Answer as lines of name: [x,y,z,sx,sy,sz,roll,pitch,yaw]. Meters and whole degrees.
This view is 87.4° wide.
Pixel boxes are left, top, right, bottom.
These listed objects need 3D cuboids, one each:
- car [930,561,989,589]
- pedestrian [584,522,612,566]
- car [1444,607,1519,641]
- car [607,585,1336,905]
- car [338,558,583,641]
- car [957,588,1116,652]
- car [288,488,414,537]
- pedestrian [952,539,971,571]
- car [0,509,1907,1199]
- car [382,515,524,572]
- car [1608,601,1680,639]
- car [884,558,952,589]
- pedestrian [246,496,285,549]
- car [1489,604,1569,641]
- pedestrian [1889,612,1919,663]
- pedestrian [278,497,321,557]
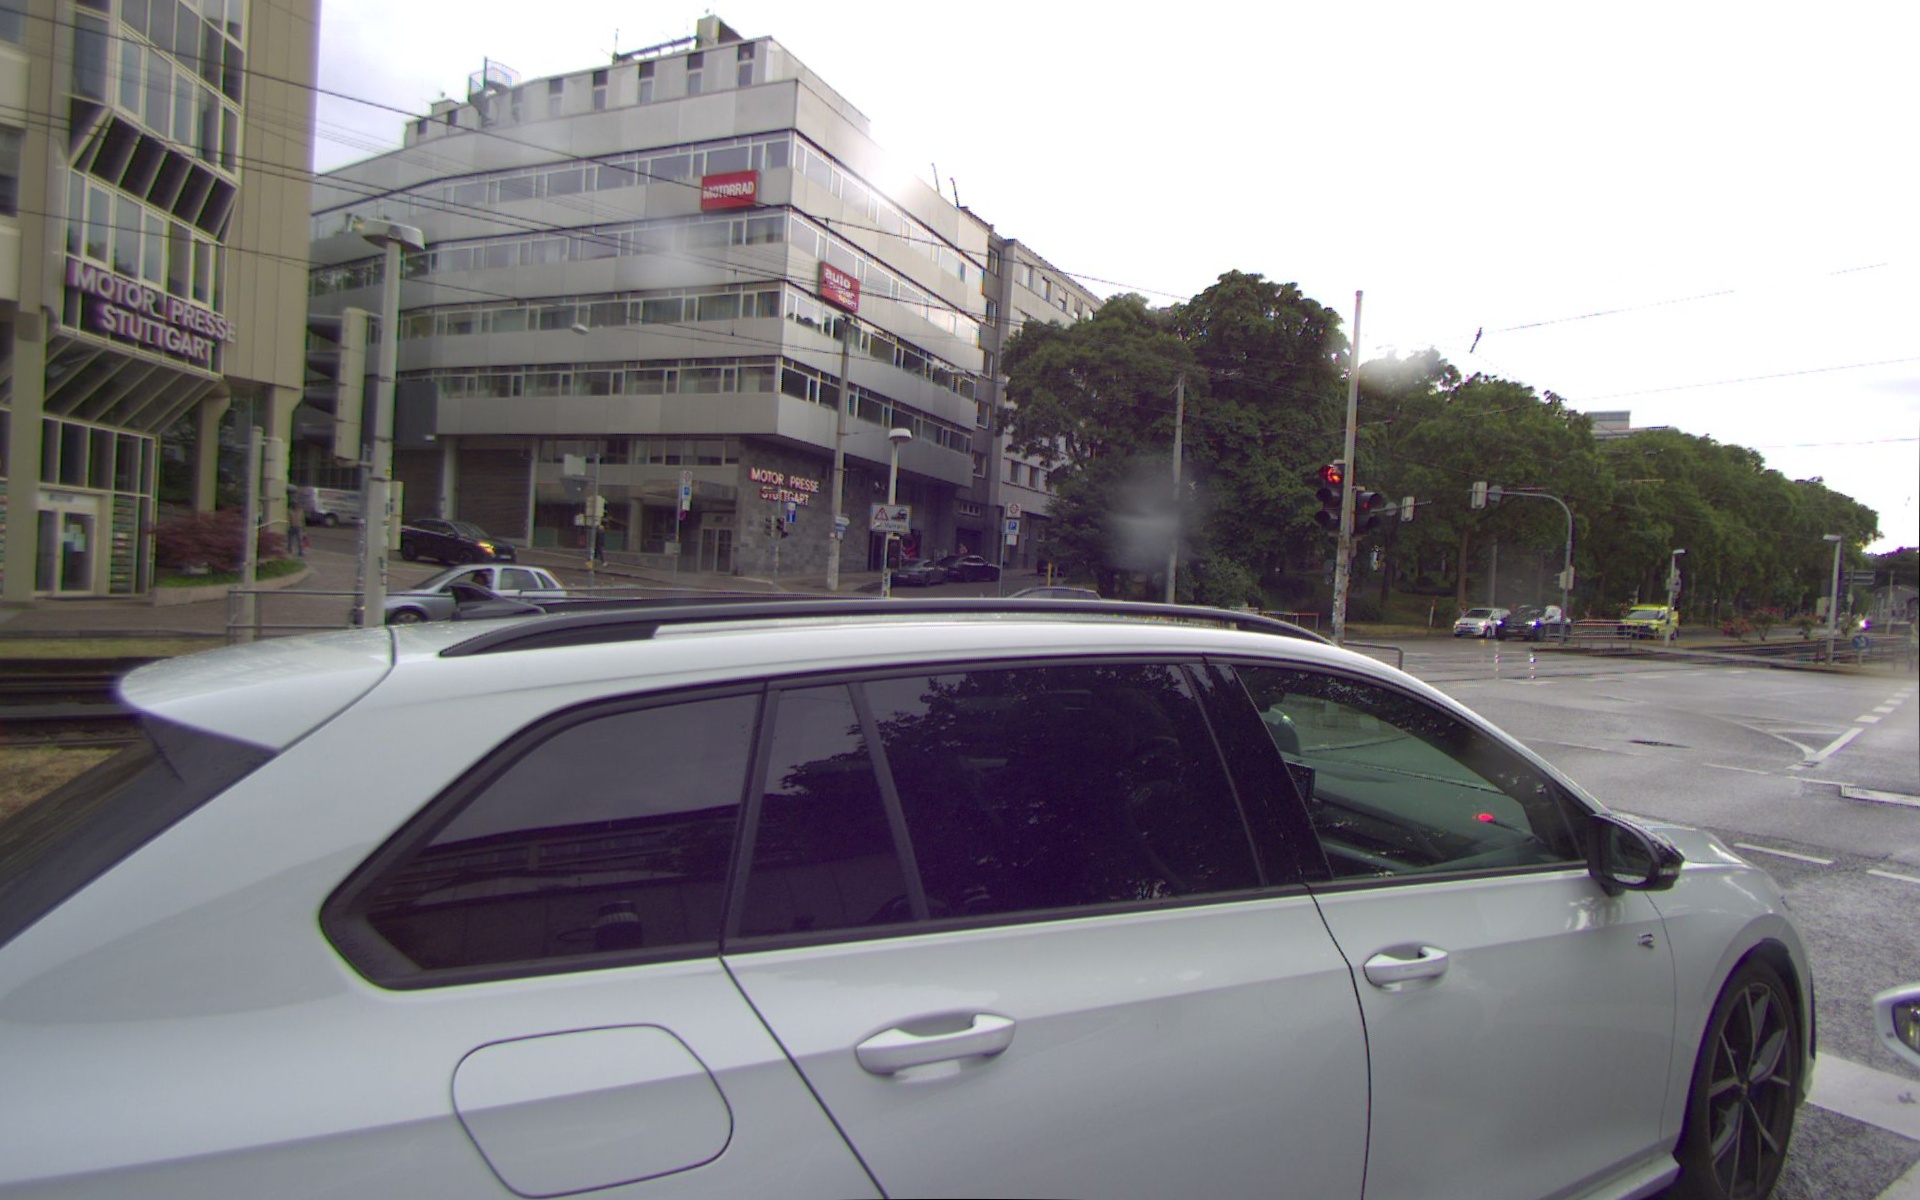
car: [0.037,-1.364,55.591,1.842,1.450,3.998,3,2,22]
pedestrian: [-16.189,-2.497,44.967,0.833,1.886,0.719,5,2,25]
car: [26.068,1.208,50.191,3.648,1.566,1.905,2,1,-37]
car: [0.199,0.715,6.493,4.423,1.461,1.787,2,0,-30]
car: [-9.373,-0.008,19.004,3.844,1.375,1.612,1,2,-43]
car: [1.886,0.477,25.520,3.797,1.375,1.631,3,2,-4]
car: [-32.025,-4.559,53.003,1.964,2.040,5.403,2,0,30]
pedestrian: [0.082,-2.715,60.700,0.709,1.886,0.756,6,5,43]
car: [0.302,0.699,2.480,4.423,1.461,1.787,2,0,-30]
car: [-18.830,-2.091,37.285,4.794,1.601,1.999,7,3,23]
car: [37.592,1.118,55.197,4.525,1.875,1.905,2,1,-38]
car: [-2.054,-1.304,50.617,1.842,1.450,4.091,3,2,22]
pedestrian: [-22.966,-2.551,33.219,0.746,1.661,0.719,5,2,25]
car: [26.378,1.053,46.523,3.648,1.566,1.905,2,1,-37]
pedestrian: [35.392,1.401,37.516,0.862,1.826,0.860,1,3,-45]
pedestrian: [-20.804,-2.284,31.646,0.746,1.811,0.830,5,2,25]
